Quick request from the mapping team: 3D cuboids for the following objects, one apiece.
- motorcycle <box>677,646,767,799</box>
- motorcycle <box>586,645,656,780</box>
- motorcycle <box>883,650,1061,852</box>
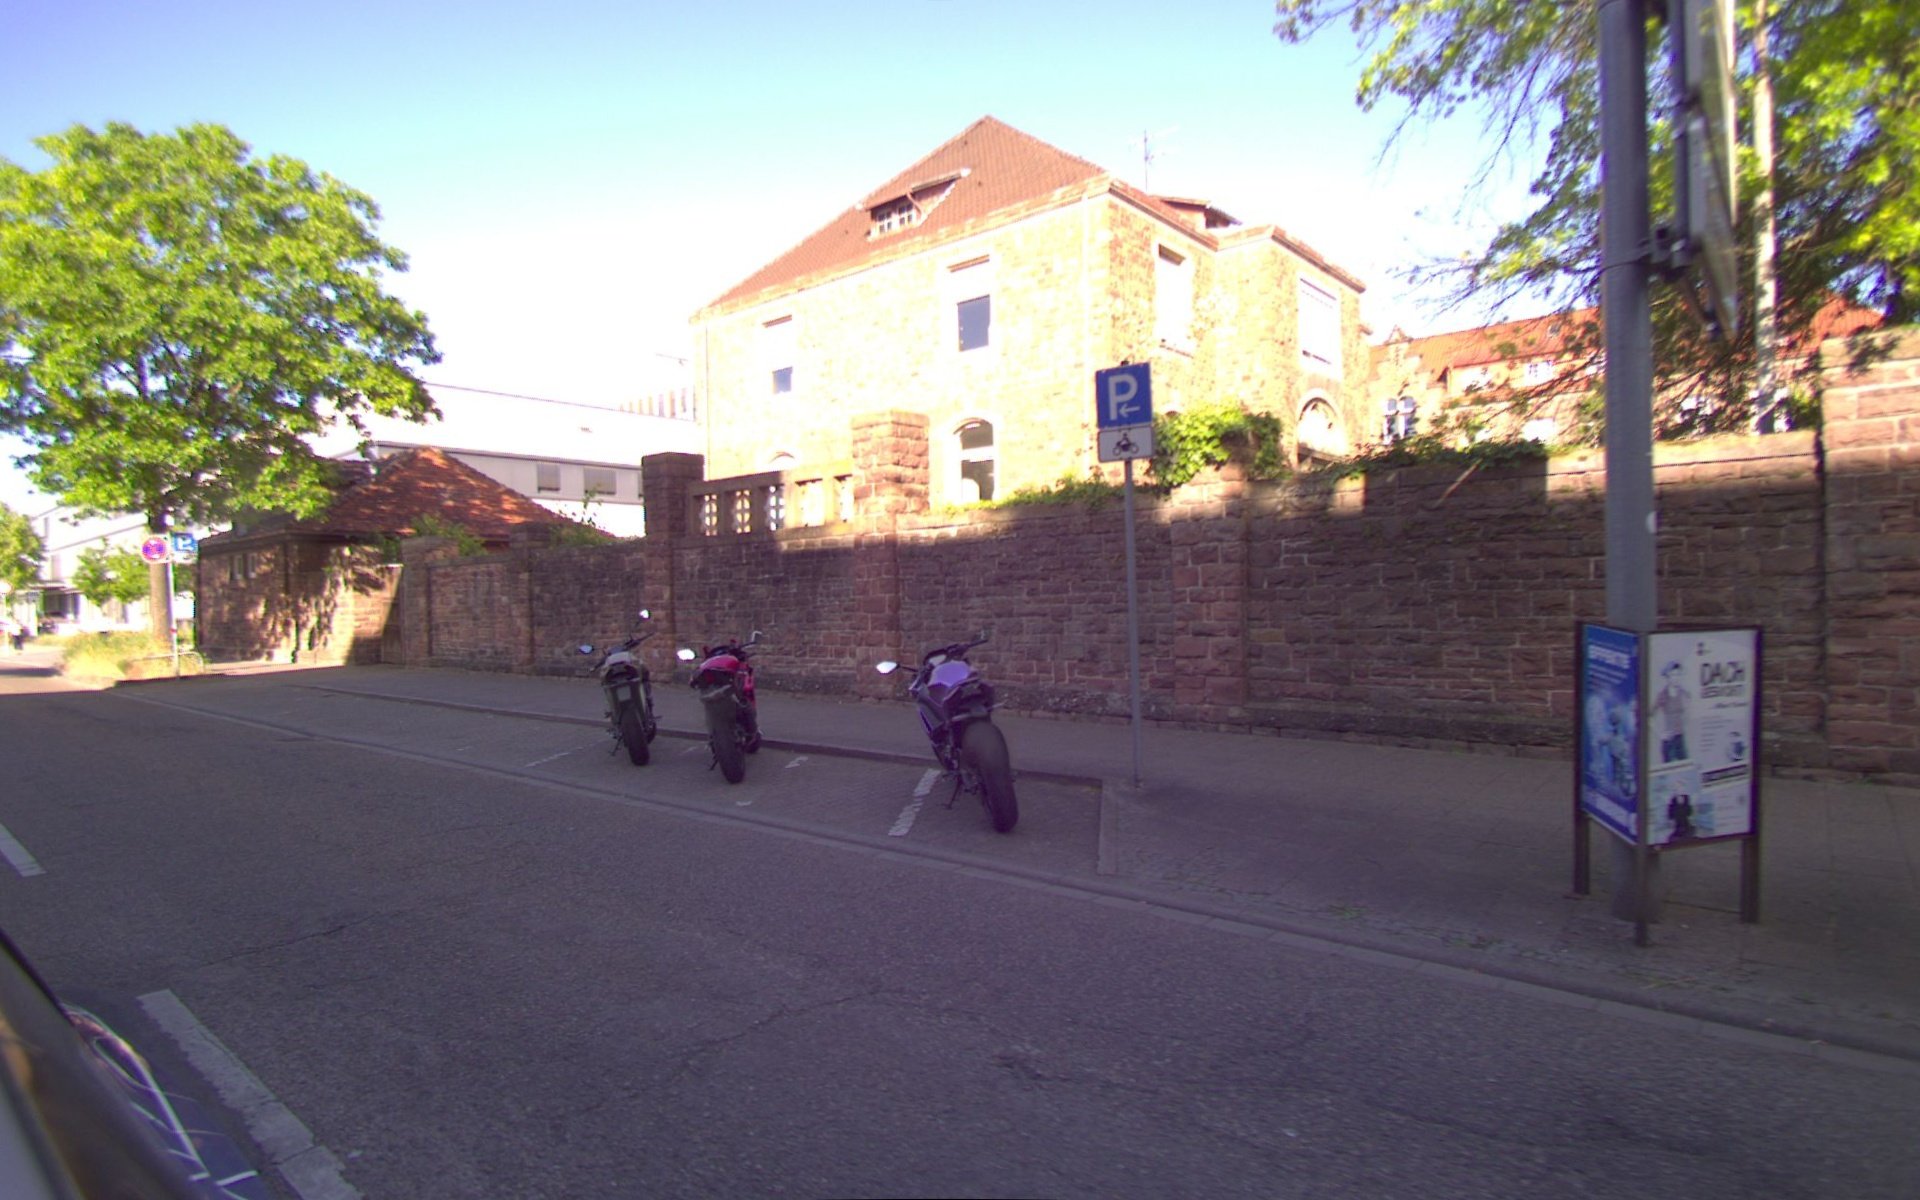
[{"bbox_3d":[-2.103,0.980,8.772,0.523,1.047,2.097,-3,1,-18],"label":"motorcycle"},{"bbox_3d":[-3.261,1.011,9.755,0.523,1.047,2.097,-3,1,-18],"label":"motorcycle"},{"bbox_3d":[-0.001,0.900,6.775,0.591,1.040,2.134,-2,0,-15],"label":"motorcycle"}]
